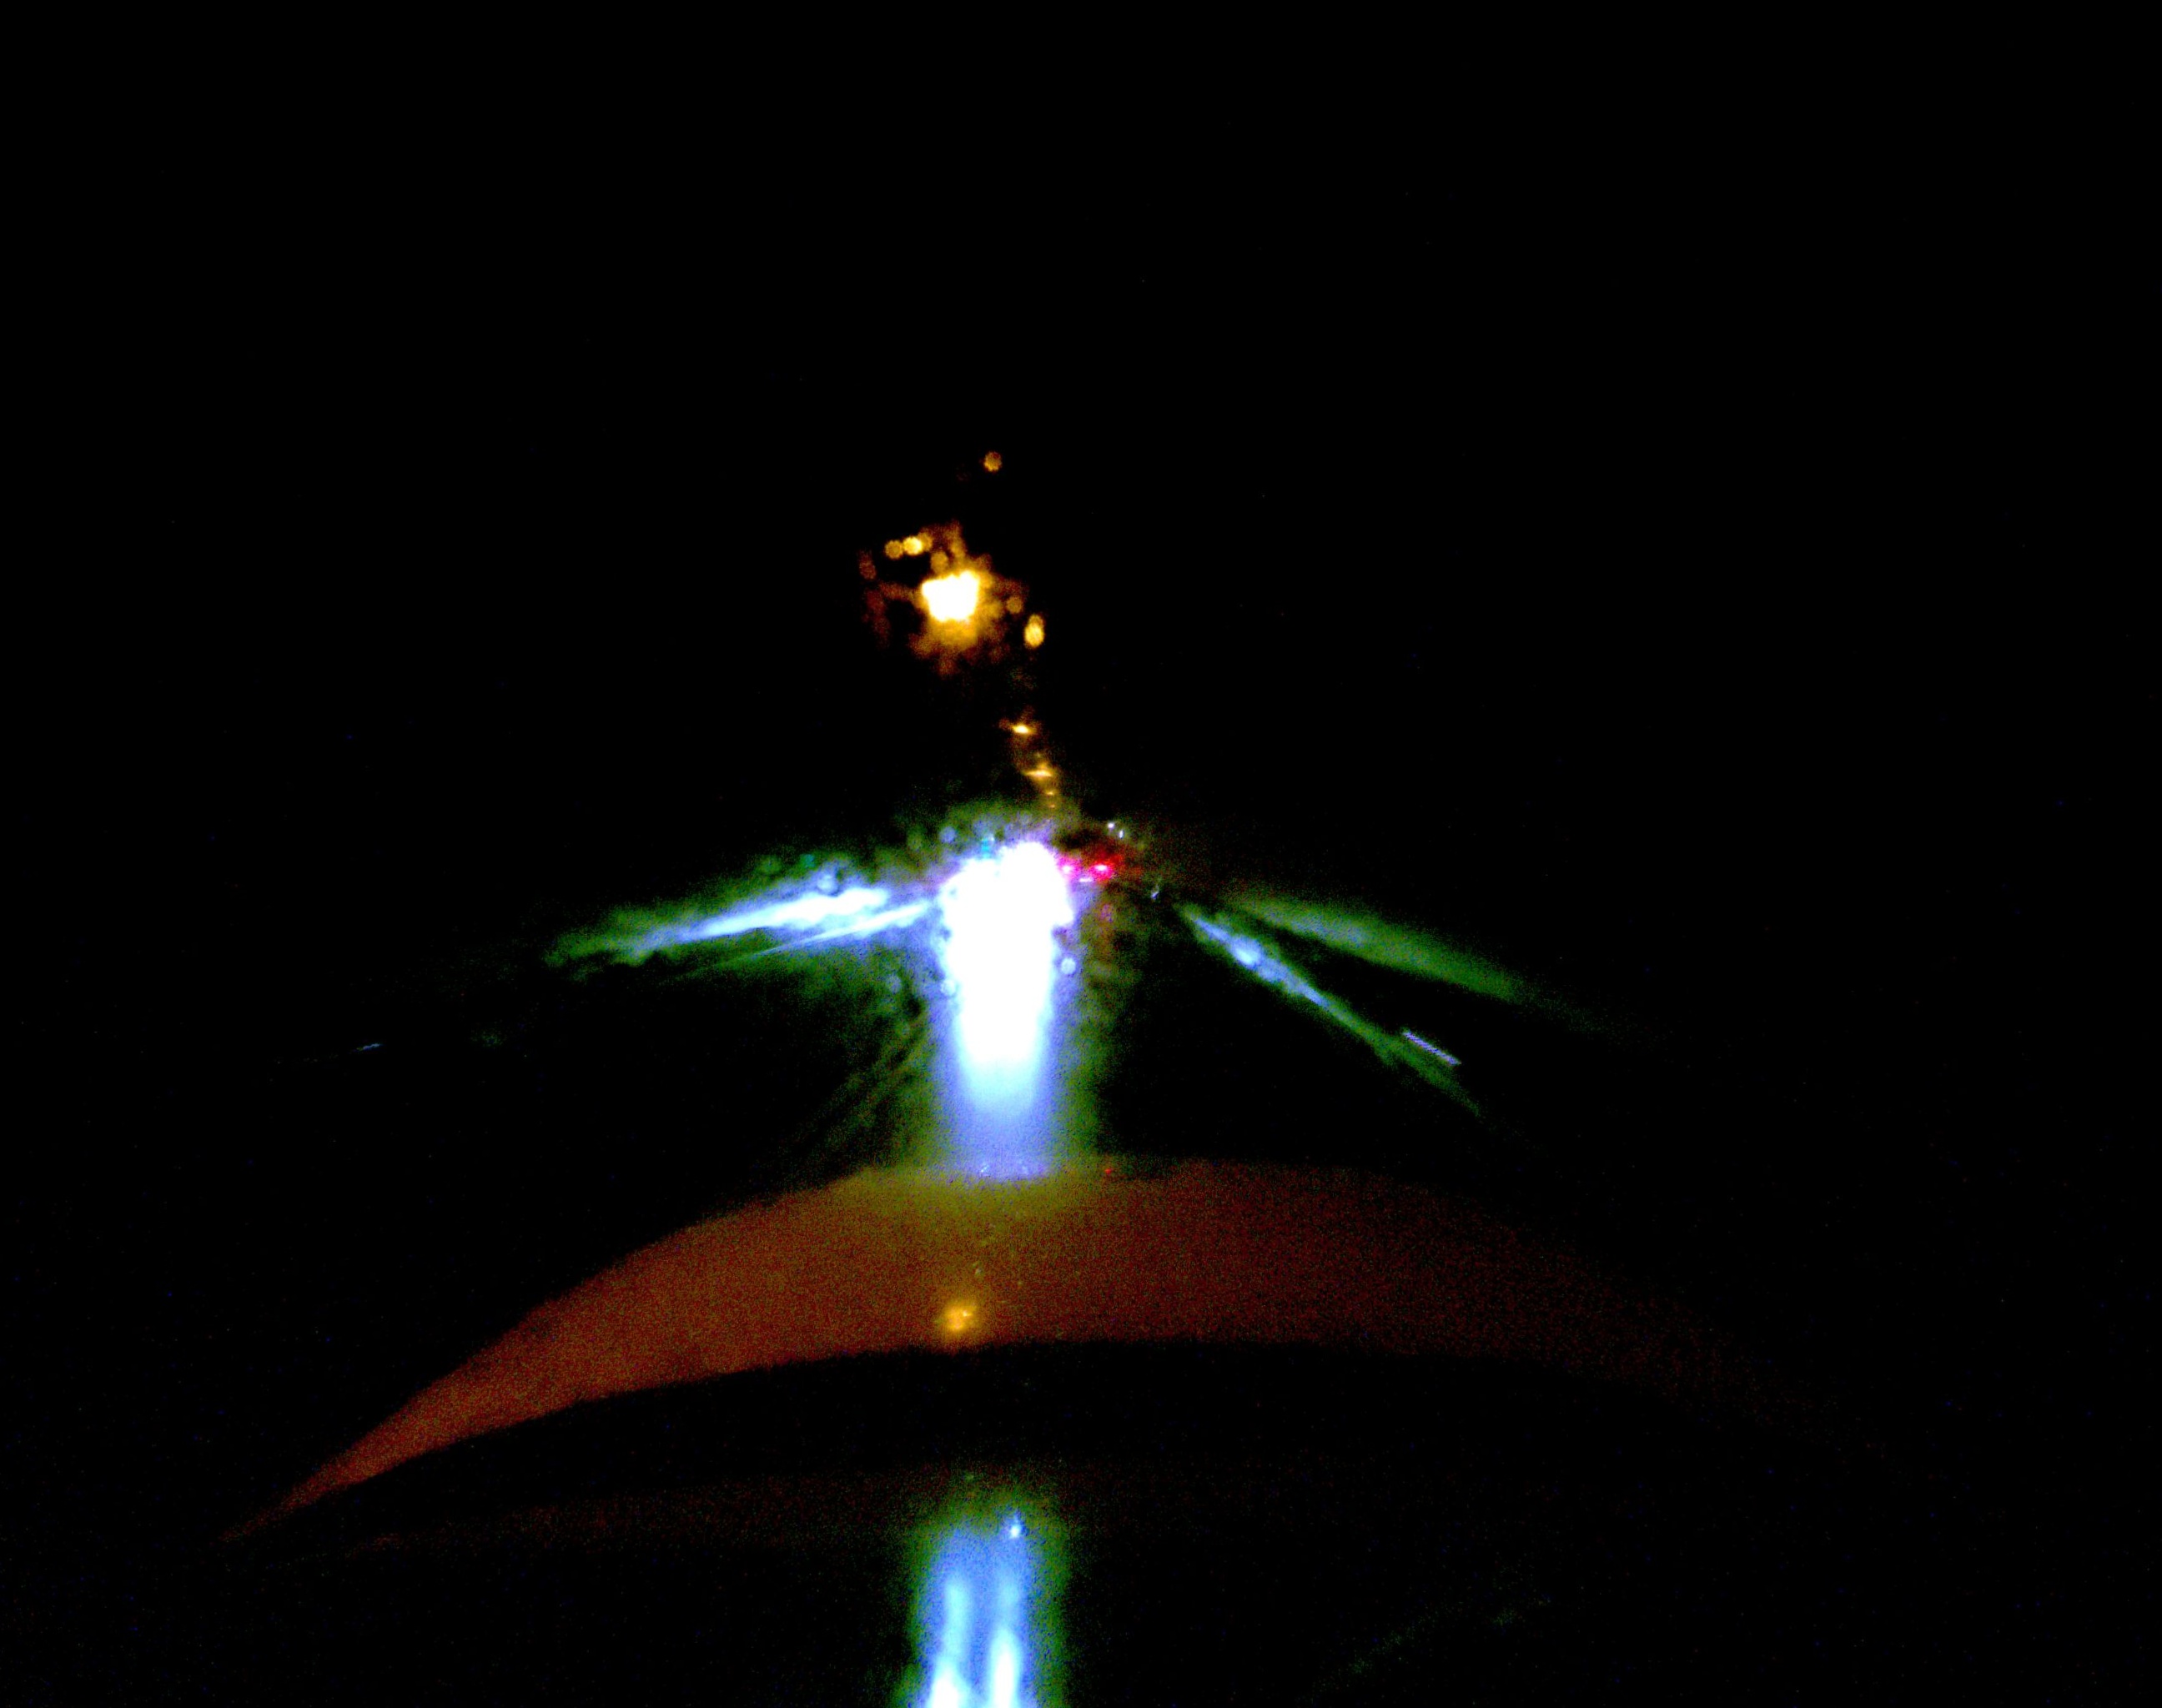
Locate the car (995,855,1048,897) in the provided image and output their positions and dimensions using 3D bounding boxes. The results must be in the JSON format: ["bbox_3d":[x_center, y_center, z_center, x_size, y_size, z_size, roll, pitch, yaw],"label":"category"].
[{"bbox_3d":[-2.196,0.793,31.088,1.650,1.493,3.839,1,0,1],"label":"car"}]

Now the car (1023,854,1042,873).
[{"bbox_3d":[-4.454,0.864,74.888,1.627,1.650,3.772,-1,0,-2],"label":"car"}]

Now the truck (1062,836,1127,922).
[{"bbox_3d":[0.622,0.908,32.573,2.253,3.011,7.419,1,0,2],"label":"truck"}]
